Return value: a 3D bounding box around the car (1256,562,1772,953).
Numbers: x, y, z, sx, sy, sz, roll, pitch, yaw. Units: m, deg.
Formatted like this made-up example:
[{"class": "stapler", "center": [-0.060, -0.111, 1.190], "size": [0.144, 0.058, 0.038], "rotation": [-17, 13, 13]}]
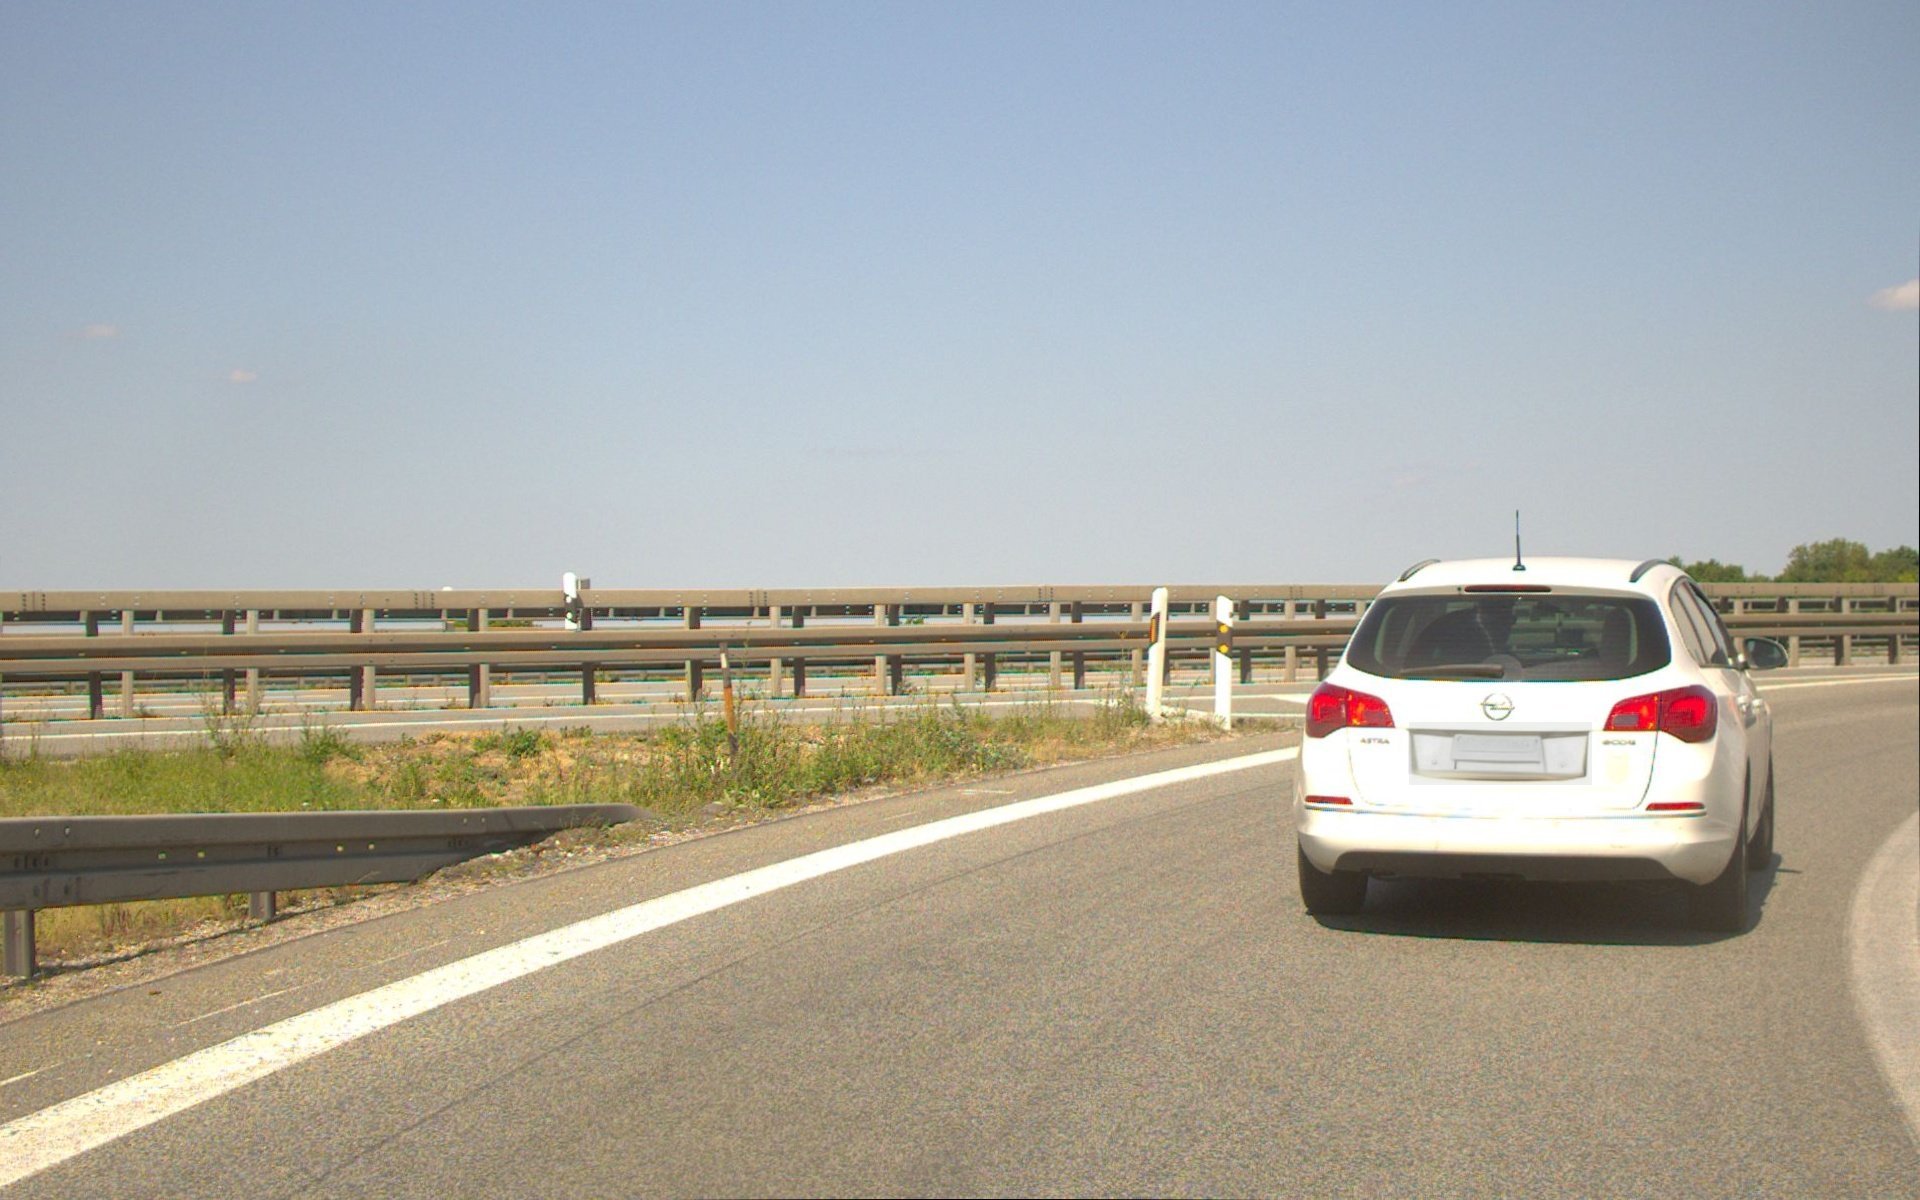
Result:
[{"class": "car", "center": [2.557, 0.590, 14.998], "size": [1.855, 1.438, 4.369], "rotation": [0, 0, 14]}]
